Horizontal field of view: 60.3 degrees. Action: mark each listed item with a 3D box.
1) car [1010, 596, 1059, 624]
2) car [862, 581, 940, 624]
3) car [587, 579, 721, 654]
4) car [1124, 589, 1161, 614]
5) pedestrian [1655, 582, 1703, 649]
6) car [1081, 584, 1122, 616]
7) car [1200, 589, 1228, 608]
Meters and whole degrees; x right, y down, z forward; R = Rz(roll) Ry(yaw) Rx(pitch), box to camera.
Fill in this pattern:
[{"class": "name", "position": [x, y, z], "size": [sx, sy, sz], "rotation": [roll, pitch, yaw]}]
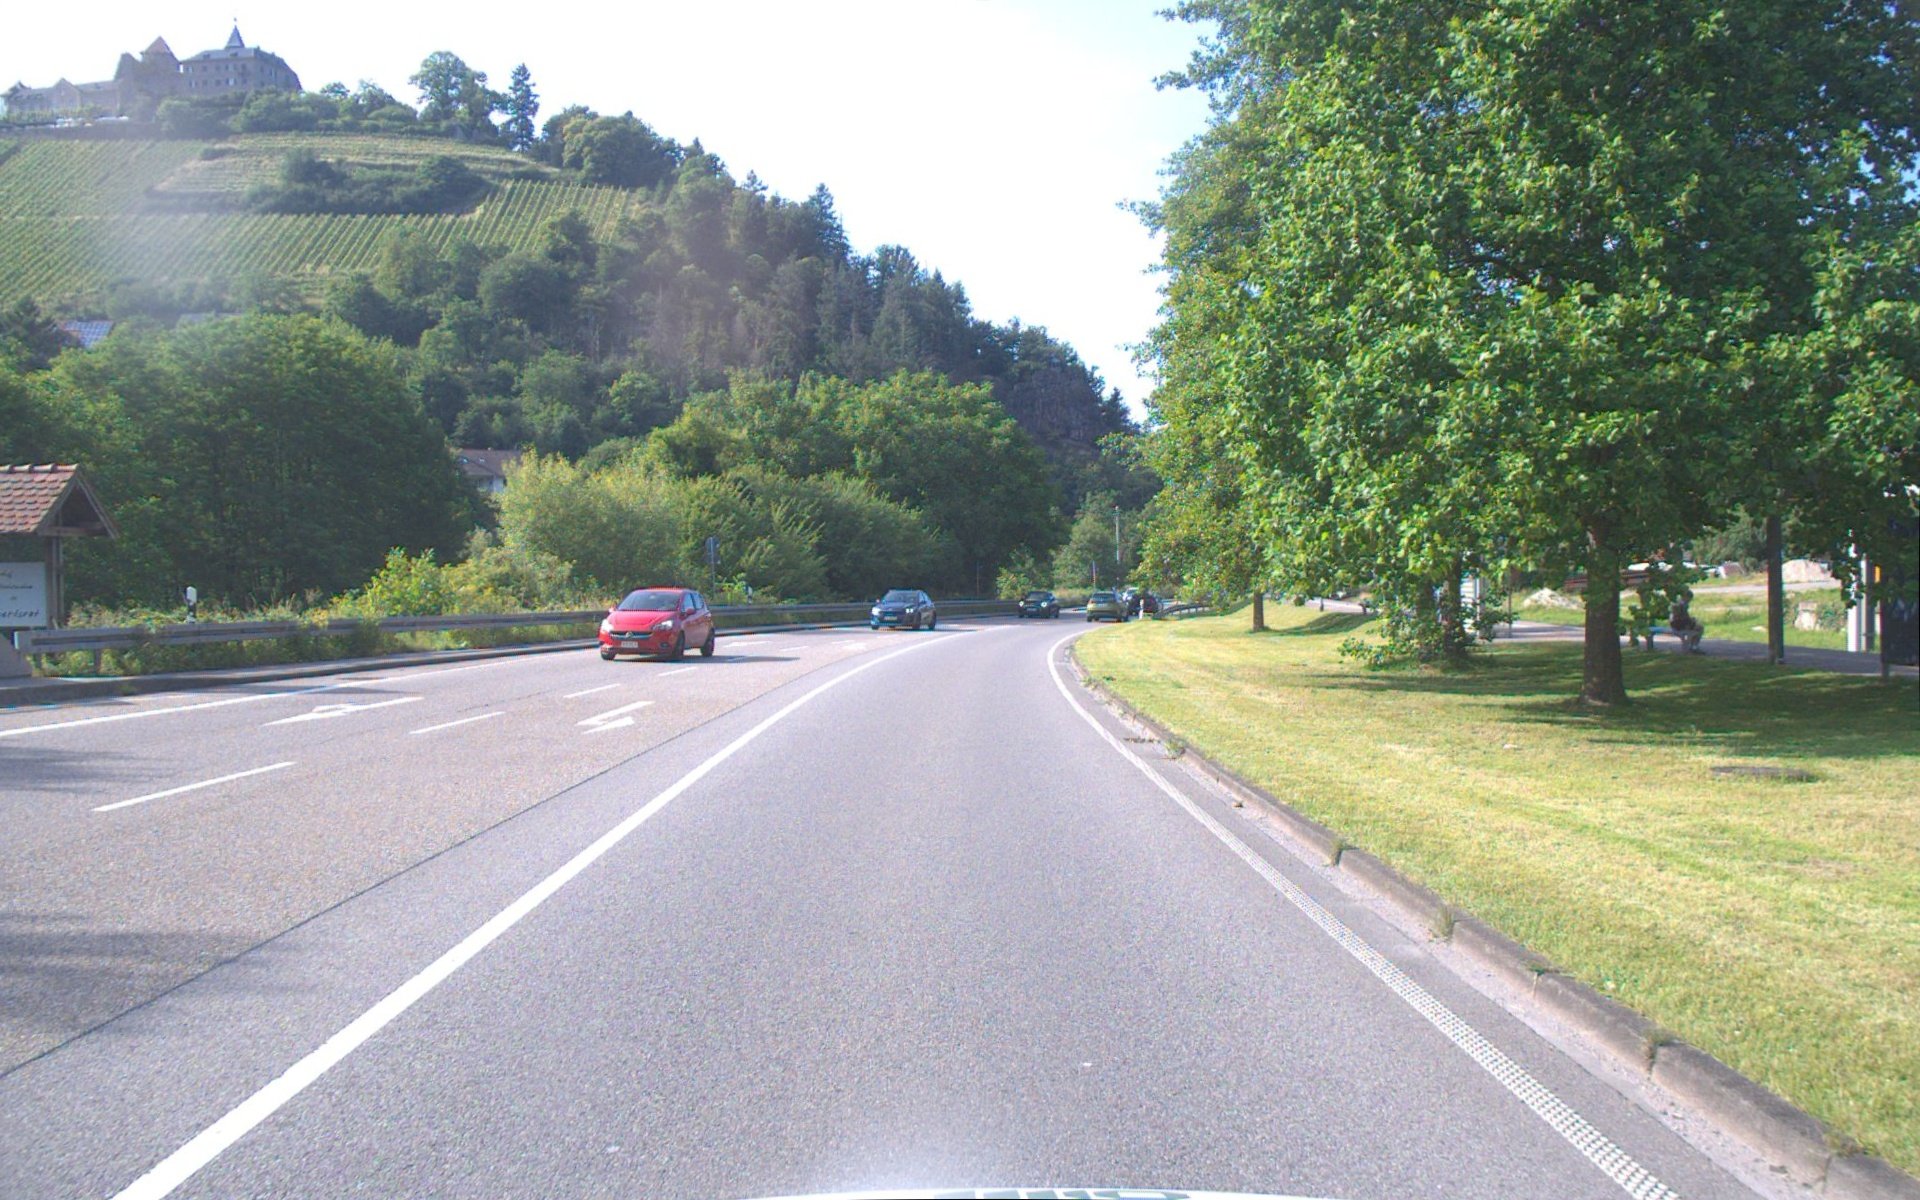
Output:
[{"class": "car", "position": [4.055, 0.531, 89.618], "size": [1.658, 1.426, 4.204], "rotation": [0, 0, 17]}, {"class": "car", "position": [-2.165, 0.080, 62.484], "size": [1.811, 1.495, 4.546], "rotation": [1, 0, 13]}, {"class": "car", "position": [-6.454, 0.322, 35.360], "size": [1.640, 1.485, 4.205], "rotation": [1, 0, 7]}, {"class": "car", "position": [11.155, 0.077, 100.887], "size": [1.801, 1.485, 3.716], "rotation": [-2, 0, 13]}, {"class": "pedestrian", "position": [13.053, 0.271, 30.048], "size": [0.622, 1.181, 0.727], "rotation": [-2, 0, 12]}, {"class": "car", "position": [7.021, -0.005, 81.992], "size": [1.691, 1.482, 3.413], "rotation": [-2, 0, 10]}, {"class": "car", "position": [20.949, -0.133, 136.421], "size": [1.768, 1.478, 3.649], "rotation": [-2, 0, 17]}]
